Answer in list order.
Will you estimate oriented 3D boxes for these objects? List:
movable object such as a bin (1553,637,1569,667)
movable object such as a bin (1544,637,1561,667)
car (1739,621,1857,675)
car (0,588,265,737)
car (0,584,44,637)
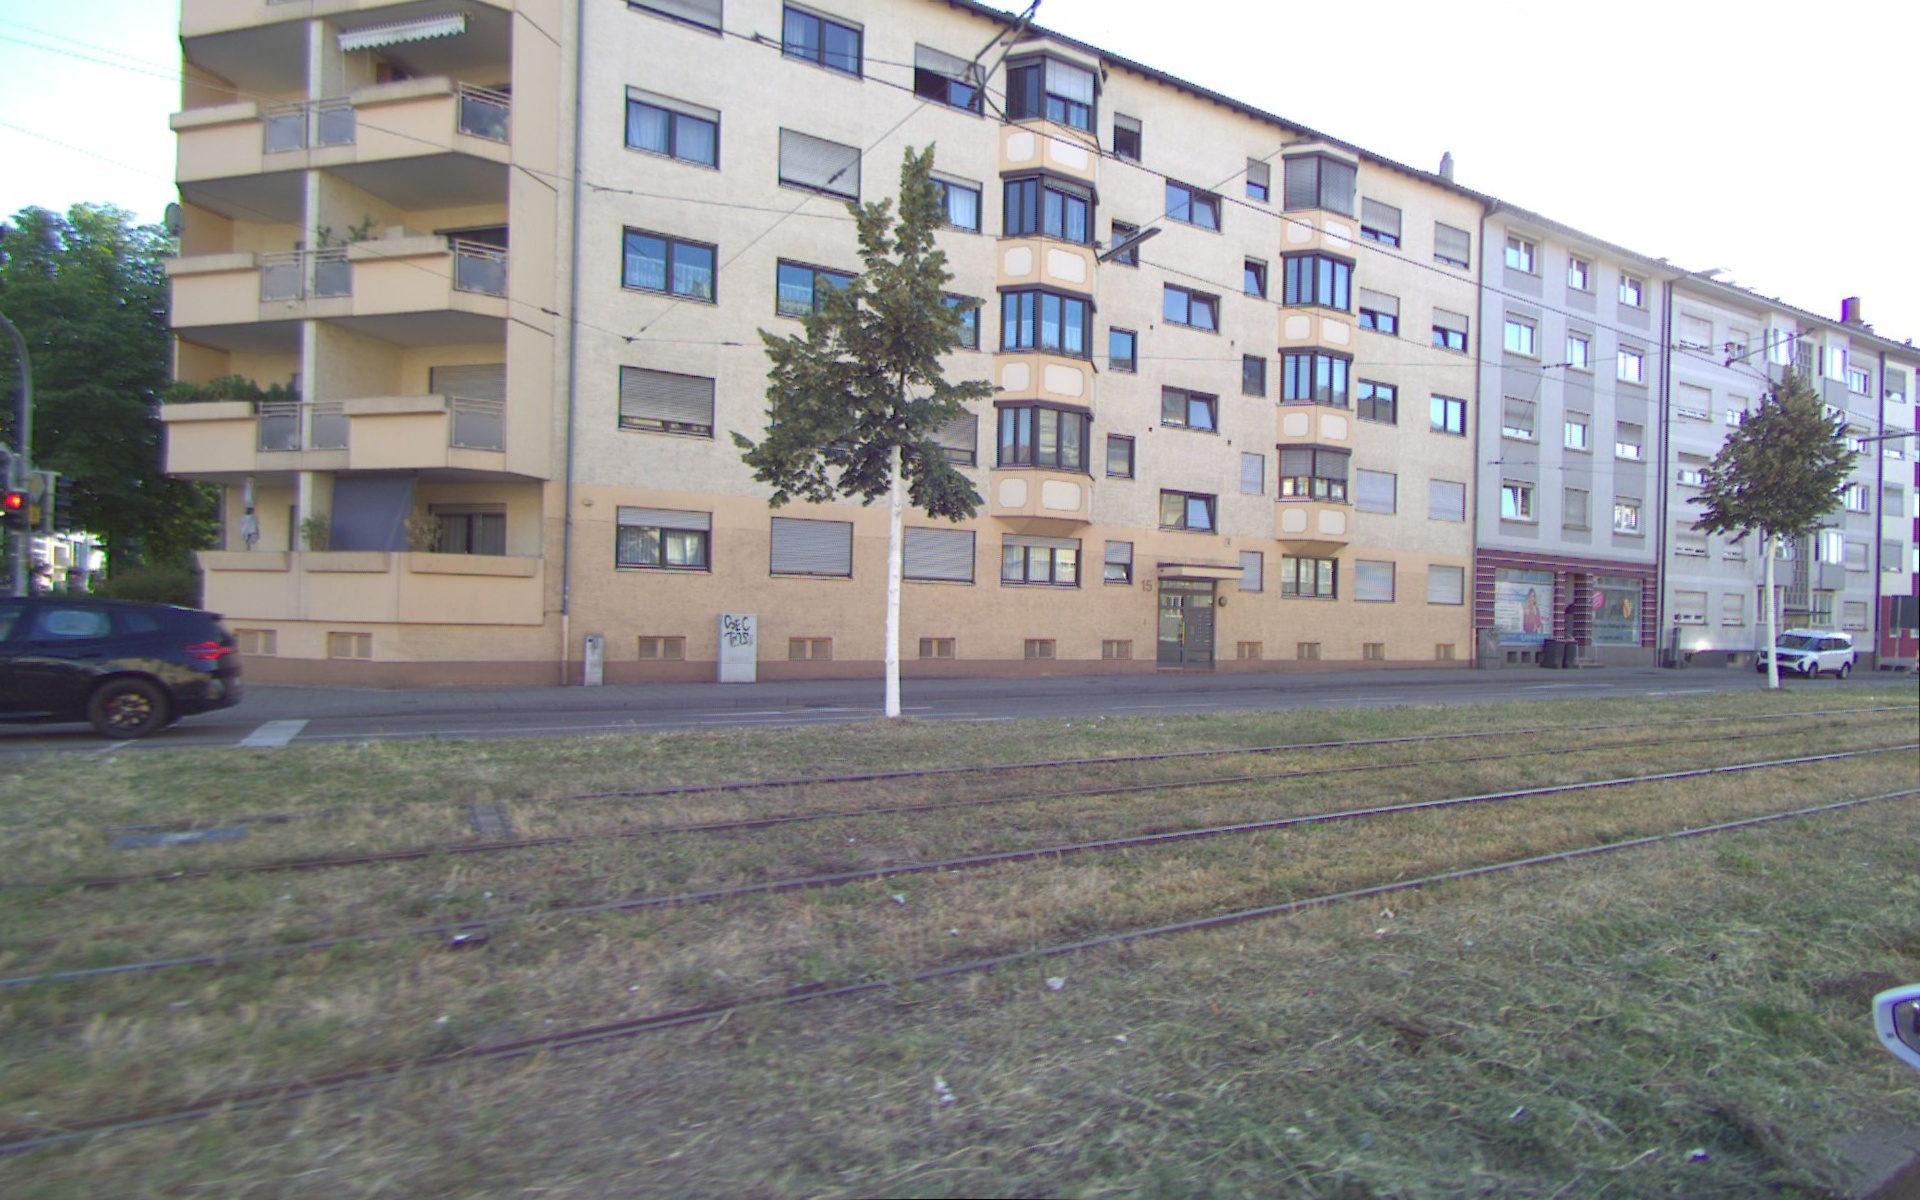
[{"bbox_3d":[21.423,1.843,35.797,0.436,1.050,0.297,2,0,-31],"label":"movable object such as a bin"},{"bbox_3d":[20.961,1.833,35.546,0.436,1.050,0.297,2,0,-31],"label":"movable object such as a bin"},{"bbox_3d":[33.511,1.917,40.167,4.484,1.950,1.986,3,0,-27],"label":"car"},{"bbox_3d":[-11.209,0.702,11.938,4.695,1.655,1.887,2,-1,-32],"label":"car"},{"bbox_3d":[-39.589,0.386,41.345,1.978,2.040,3.966,3,-1,-31],"label":"car"}]
